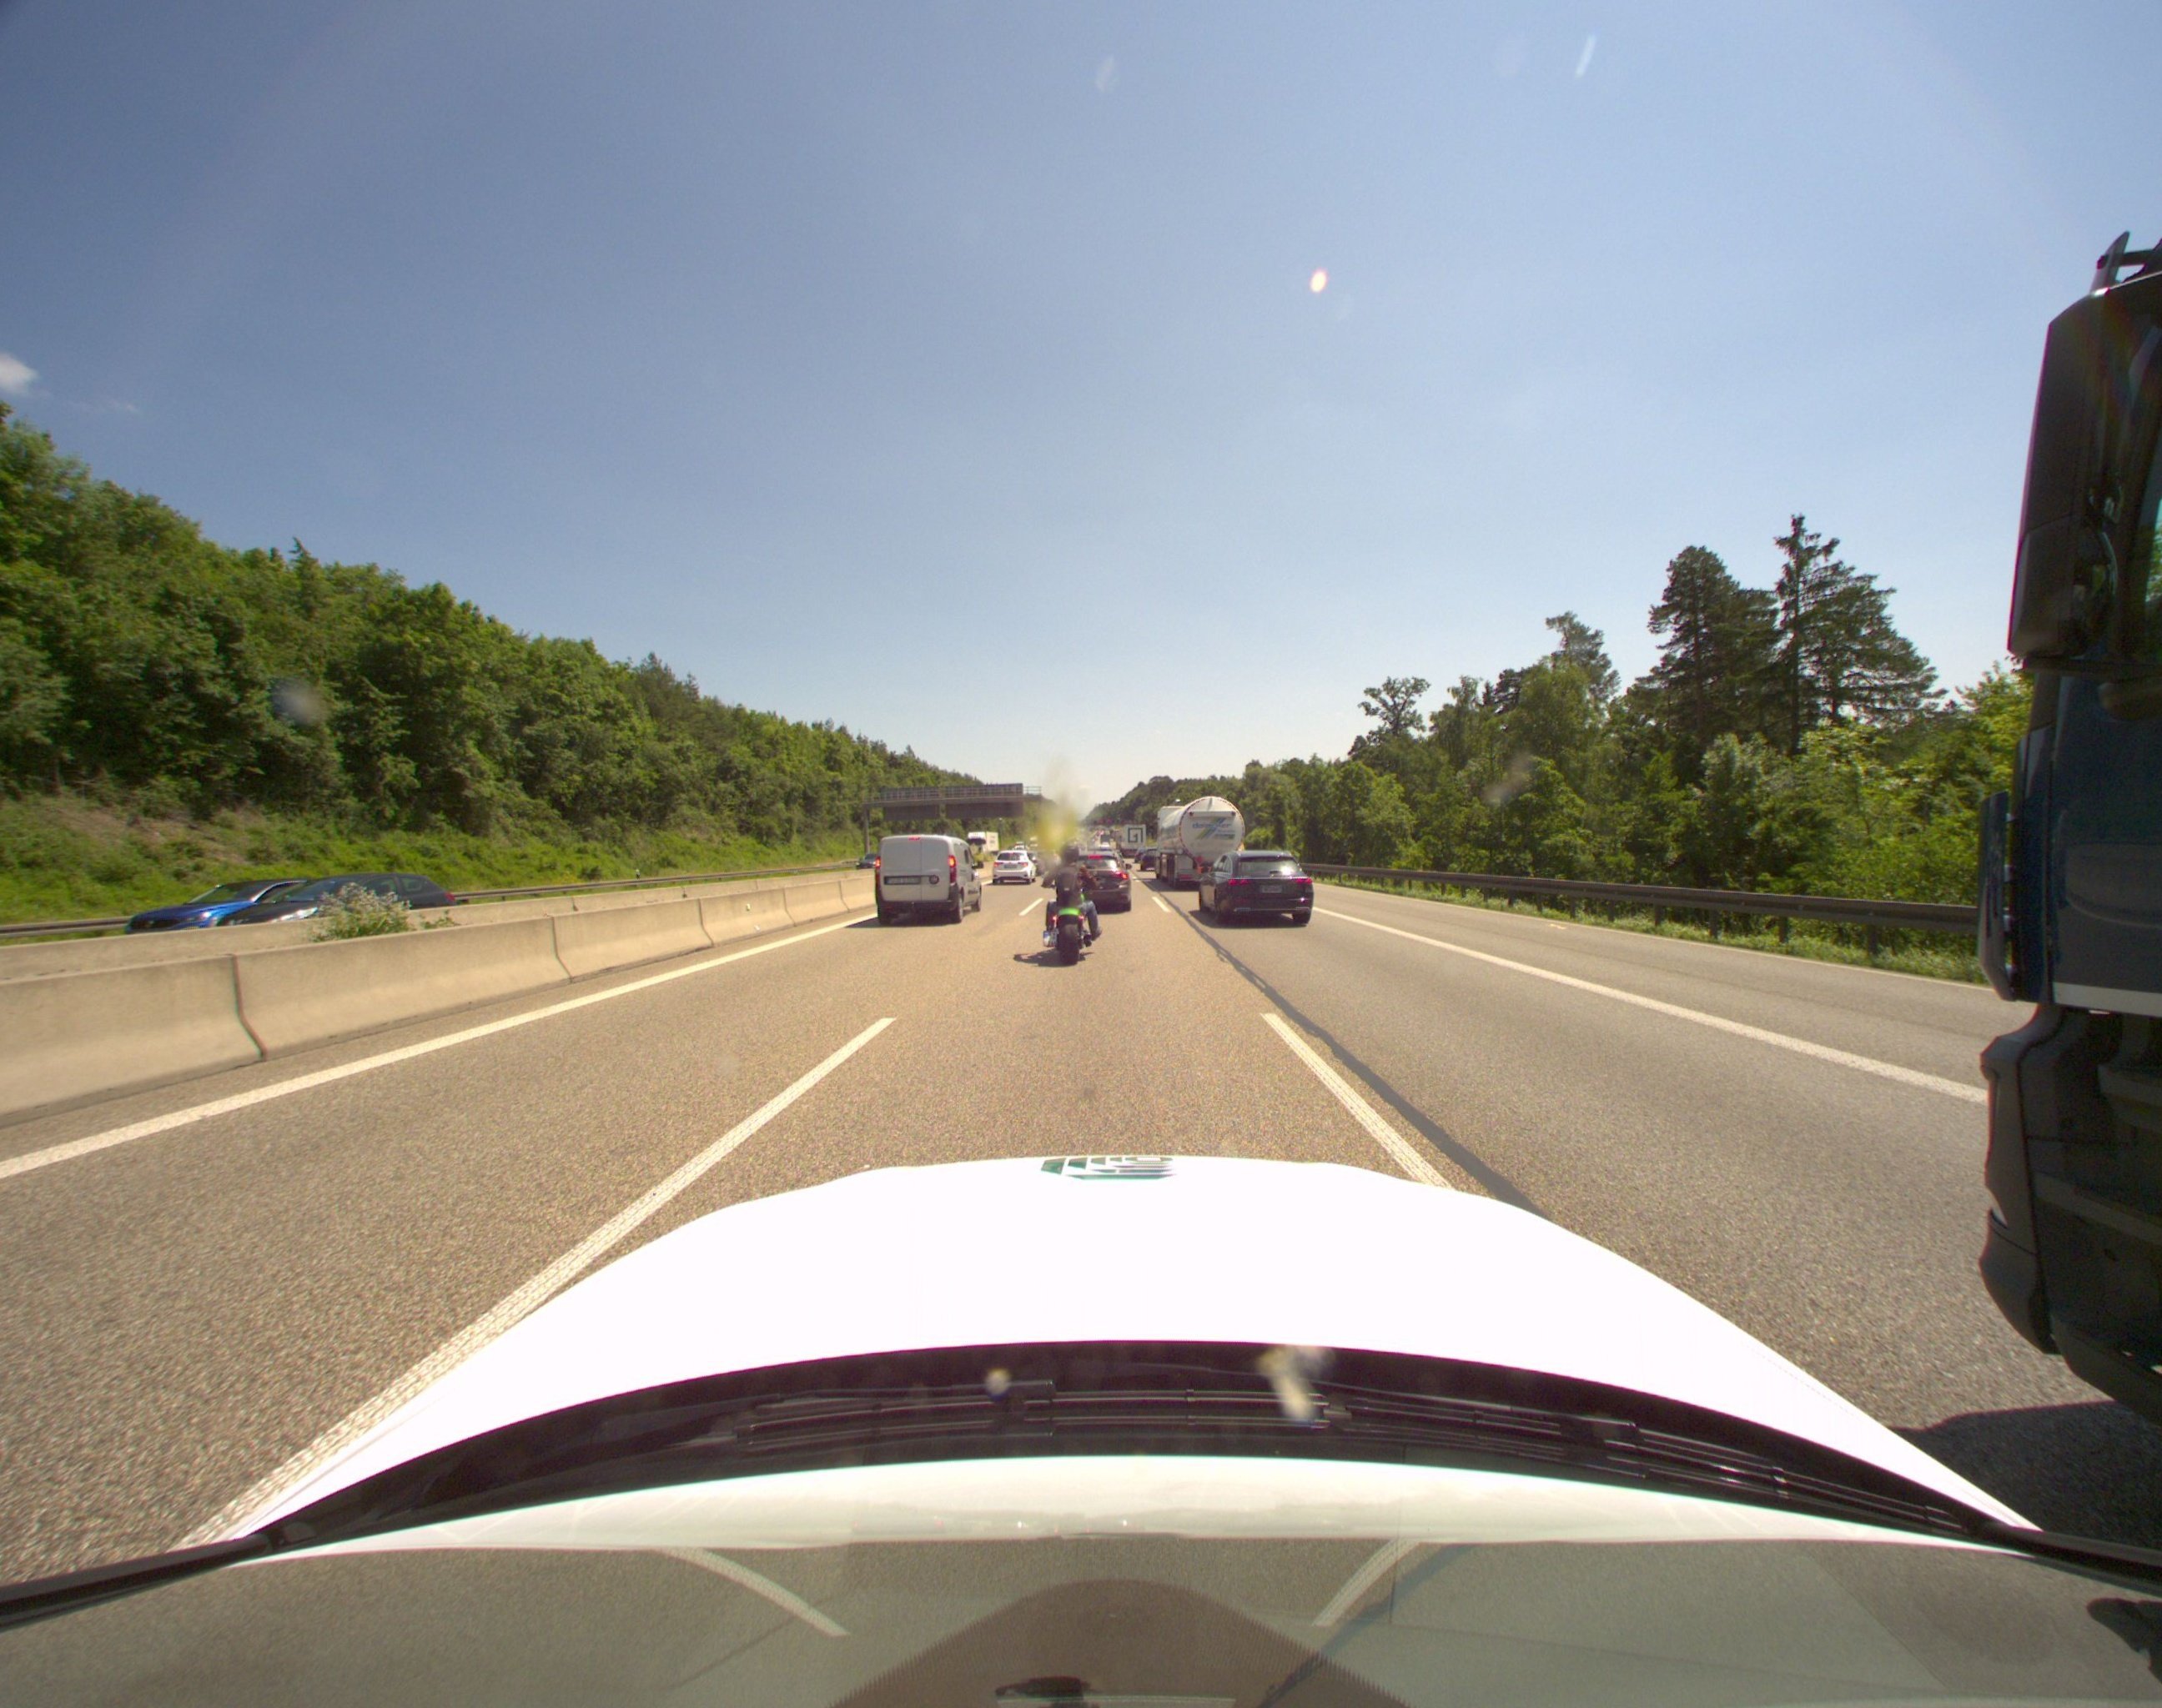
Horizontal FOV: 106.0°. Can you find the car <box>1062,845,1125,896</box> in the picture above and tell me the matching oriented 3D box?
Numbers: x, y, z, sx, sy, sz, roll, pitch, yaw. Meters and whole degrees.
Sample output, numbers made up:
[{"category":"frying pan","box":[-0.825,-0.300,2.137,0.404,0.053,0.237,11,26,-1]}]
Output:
[{"category":"car","box":[0.459,0.542,27.747,1.986,1.601,4.002,0,-1,2]}]

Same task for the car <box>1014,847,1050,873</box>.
[{"category":"car","box":[-3.204,0.406,54.228,1.986,1.684,4.331,0,-1,2]}]

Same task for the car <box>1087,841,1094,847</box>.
[{"category":"car","box":[2.616,-2.765,226.901,1.763,1.556,4.002,-2,0,2]}]

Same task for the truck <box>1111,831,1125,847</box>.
[{"category":"truck","box":[7.982,-3.183,175.603,2.686,3.405,10.482,-2,0,2]}]

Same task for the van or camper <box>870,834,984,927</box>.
[{"category":"van or camper","box":[-3.388,0.504,18.816,1.848,1.880,4.559,0,1,-2]}]

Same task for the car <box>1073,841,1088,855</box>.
[{"category":"car","box":[-0.087,-0.866,122.629,1.986,2.013,4.002,-2,0,2]}]

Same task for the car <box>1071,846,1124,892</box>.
[{"category":"car","box":[0.647,0.586,32.639,1.986,1.711,4.000,0,-1,1]}]

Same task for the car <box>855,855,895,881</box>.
[{"category":"car","box":[-16.755,1.110,66.550,2.106,2.014,4.478,0,-1,0]}]

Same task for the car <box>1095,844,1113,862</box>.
[{"category":"car","box":[2.585,-0.137,91.772,1.986,2.013,4.001,-1,0,1]}]

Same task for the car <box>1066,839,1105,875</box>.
[{"category":"car","box":[0.267,0.178,42.938,1.986,1.775,4.000,0,-1,1]}]

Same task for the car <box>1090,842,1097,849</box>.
[{"category":"car","box":[3.901,-2.732,252.629,1.986,2.013,4.002,-2,0,2]}]

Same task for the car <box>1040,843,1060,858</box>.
[{"category":"car","box":[-3.104,-0.294,82.346,1.757,1.442,4.002,0,-1,2]}]

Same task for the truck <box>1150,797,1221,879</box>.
[{"category":"truck","box":[4.948,-0.681,39.750,2.817,3.671,6.432,0,-1,2]}]

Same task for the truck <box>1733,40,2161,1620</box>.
[{"category":"truck","box":[3.228,-0.058,0.419,2.545,2.940,4.107,-1,-1,3]}]

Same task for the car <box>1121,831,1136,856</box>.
[{"category":"car","box":[7.704,-1.604,133.109,2.159,3.892,9.333,0,-1,2]}]

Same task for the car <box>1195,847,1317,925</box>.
[{"category":"car","box":[3.634,0.621,17.682,1.785,1.458,4.626,0,0,2]}]

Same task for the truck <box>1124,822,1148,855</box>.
[{"category":"truck","box":[6.914,-1.865,101.844,2.840,3.821,7.196,0,-1,4]}]

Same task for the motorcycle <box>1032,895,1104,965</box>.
[{"category":"motorcycle","box":[-0.134,1.053,11.845,0.932,0.793,2.300,0,0,2]}]

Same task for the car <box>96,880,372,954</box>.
[{"category":"car","box":[-19.143,1.351,18.717,1.984,1.334,4.005,-1,0,4]}]

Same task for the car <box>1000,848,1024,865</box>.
[{"category":"car","box":[-6.306,0.214,75.039,1.818,1.494,4.001,-1,0,1]}]

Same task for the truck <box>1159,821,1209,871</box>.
[{"category":"truck","box":[6.663,-0.532,53.706,2.380,2.979,8.254,-1,0,1]}]

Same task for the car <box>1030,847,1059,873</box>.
[{"category":"car","box":[-2.877,0.508,64.924,1.986,2.014,4.001,0,-1,1]}]

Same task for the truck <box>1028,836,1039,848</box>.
[{"category":"truck","box":[-12.336,-3.015,211.397,2.170,2.884,6.744,0,-1,1]}]

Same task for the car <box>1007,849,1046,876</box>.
[{"category":"car","box":[-3.114,0.482,47.435,1.987,1.464,3.999,0,-1,0]}]

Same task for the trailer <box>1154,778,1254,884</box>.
[{"category":"trailer","box":[4.763,-0.752,33.735,2.817,3.671,10.736,0,0,2]}]

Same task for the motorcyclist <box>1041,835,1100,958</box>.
[{"category":"motorcyclist","box":[-0.136,0.588,11.737,0.796,1.688,1.017,0,-1,1]}]

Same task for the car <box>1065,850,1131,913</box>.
[{"category":"car","box":[0.360,0.659,21.056,1.536,1.450,3.998,0,-1,-1]}]

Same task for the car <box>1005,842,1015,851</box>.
[{"category":"car","box":[-16.334,-1.811,187.574,1.986,2.014,4.001,0,-1,2]}]

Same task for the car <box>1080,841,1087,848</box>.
[{"category":"car","box":[0.808,-2.754,247.071,1.986,2.013,4.002,-2,0,2]}]

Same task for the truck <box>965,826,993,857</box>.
[{"category":"truck","box":[-15.014,-1.768,120.240,2.938,4.481,7.522,0,-1,2]}]

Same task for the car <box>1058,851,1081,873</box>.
[{"category":"car","box":[-1.055,0.732,77.701,1.986,2.014,4.001,0,-1,2]}]

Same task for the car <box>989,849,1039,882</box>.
[{"category":"car","box":[-2.943,0.503,36.630,1.769,1.411,4.001,0,-1,2]}]

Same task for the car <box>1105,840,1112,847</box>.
[{"category":"car","box":[7.598,-2.888,225.607,1.871,1.618,4.002,-2,0,2]}]

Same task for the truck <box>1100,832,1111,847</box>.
[{"category":"truck","box":[6.132,-3.567,204.205,2.686,3.405,10.482,-2,0,2]}]

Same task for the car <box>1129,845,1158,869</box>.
[{"category":"car","box":[4.215,0.203,55.141,1.769,1.527,4.001,0,-1,2]}]

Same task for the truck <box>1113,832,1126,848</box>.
[{"category":"truck","box":[5.141,-1.860,108.703,1.584,2.111,3.755,0,-1,4]}]

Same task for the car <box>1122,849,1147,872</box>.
[{"category":"car","box":[4.817,0.631,74.152,1.987,2.014,3.999,0,-1,0]}]

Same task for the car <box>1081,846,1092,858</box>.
[{"category":"car","box":[0.975,-0.338,149.143,1.892,2.014,4.001,0,-1,2]}]

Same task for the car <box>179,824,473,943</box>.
[{"category":"car","box":[-14.380,0.523,15.901,1.987,2.014,3.999,0,-1,0]}]
